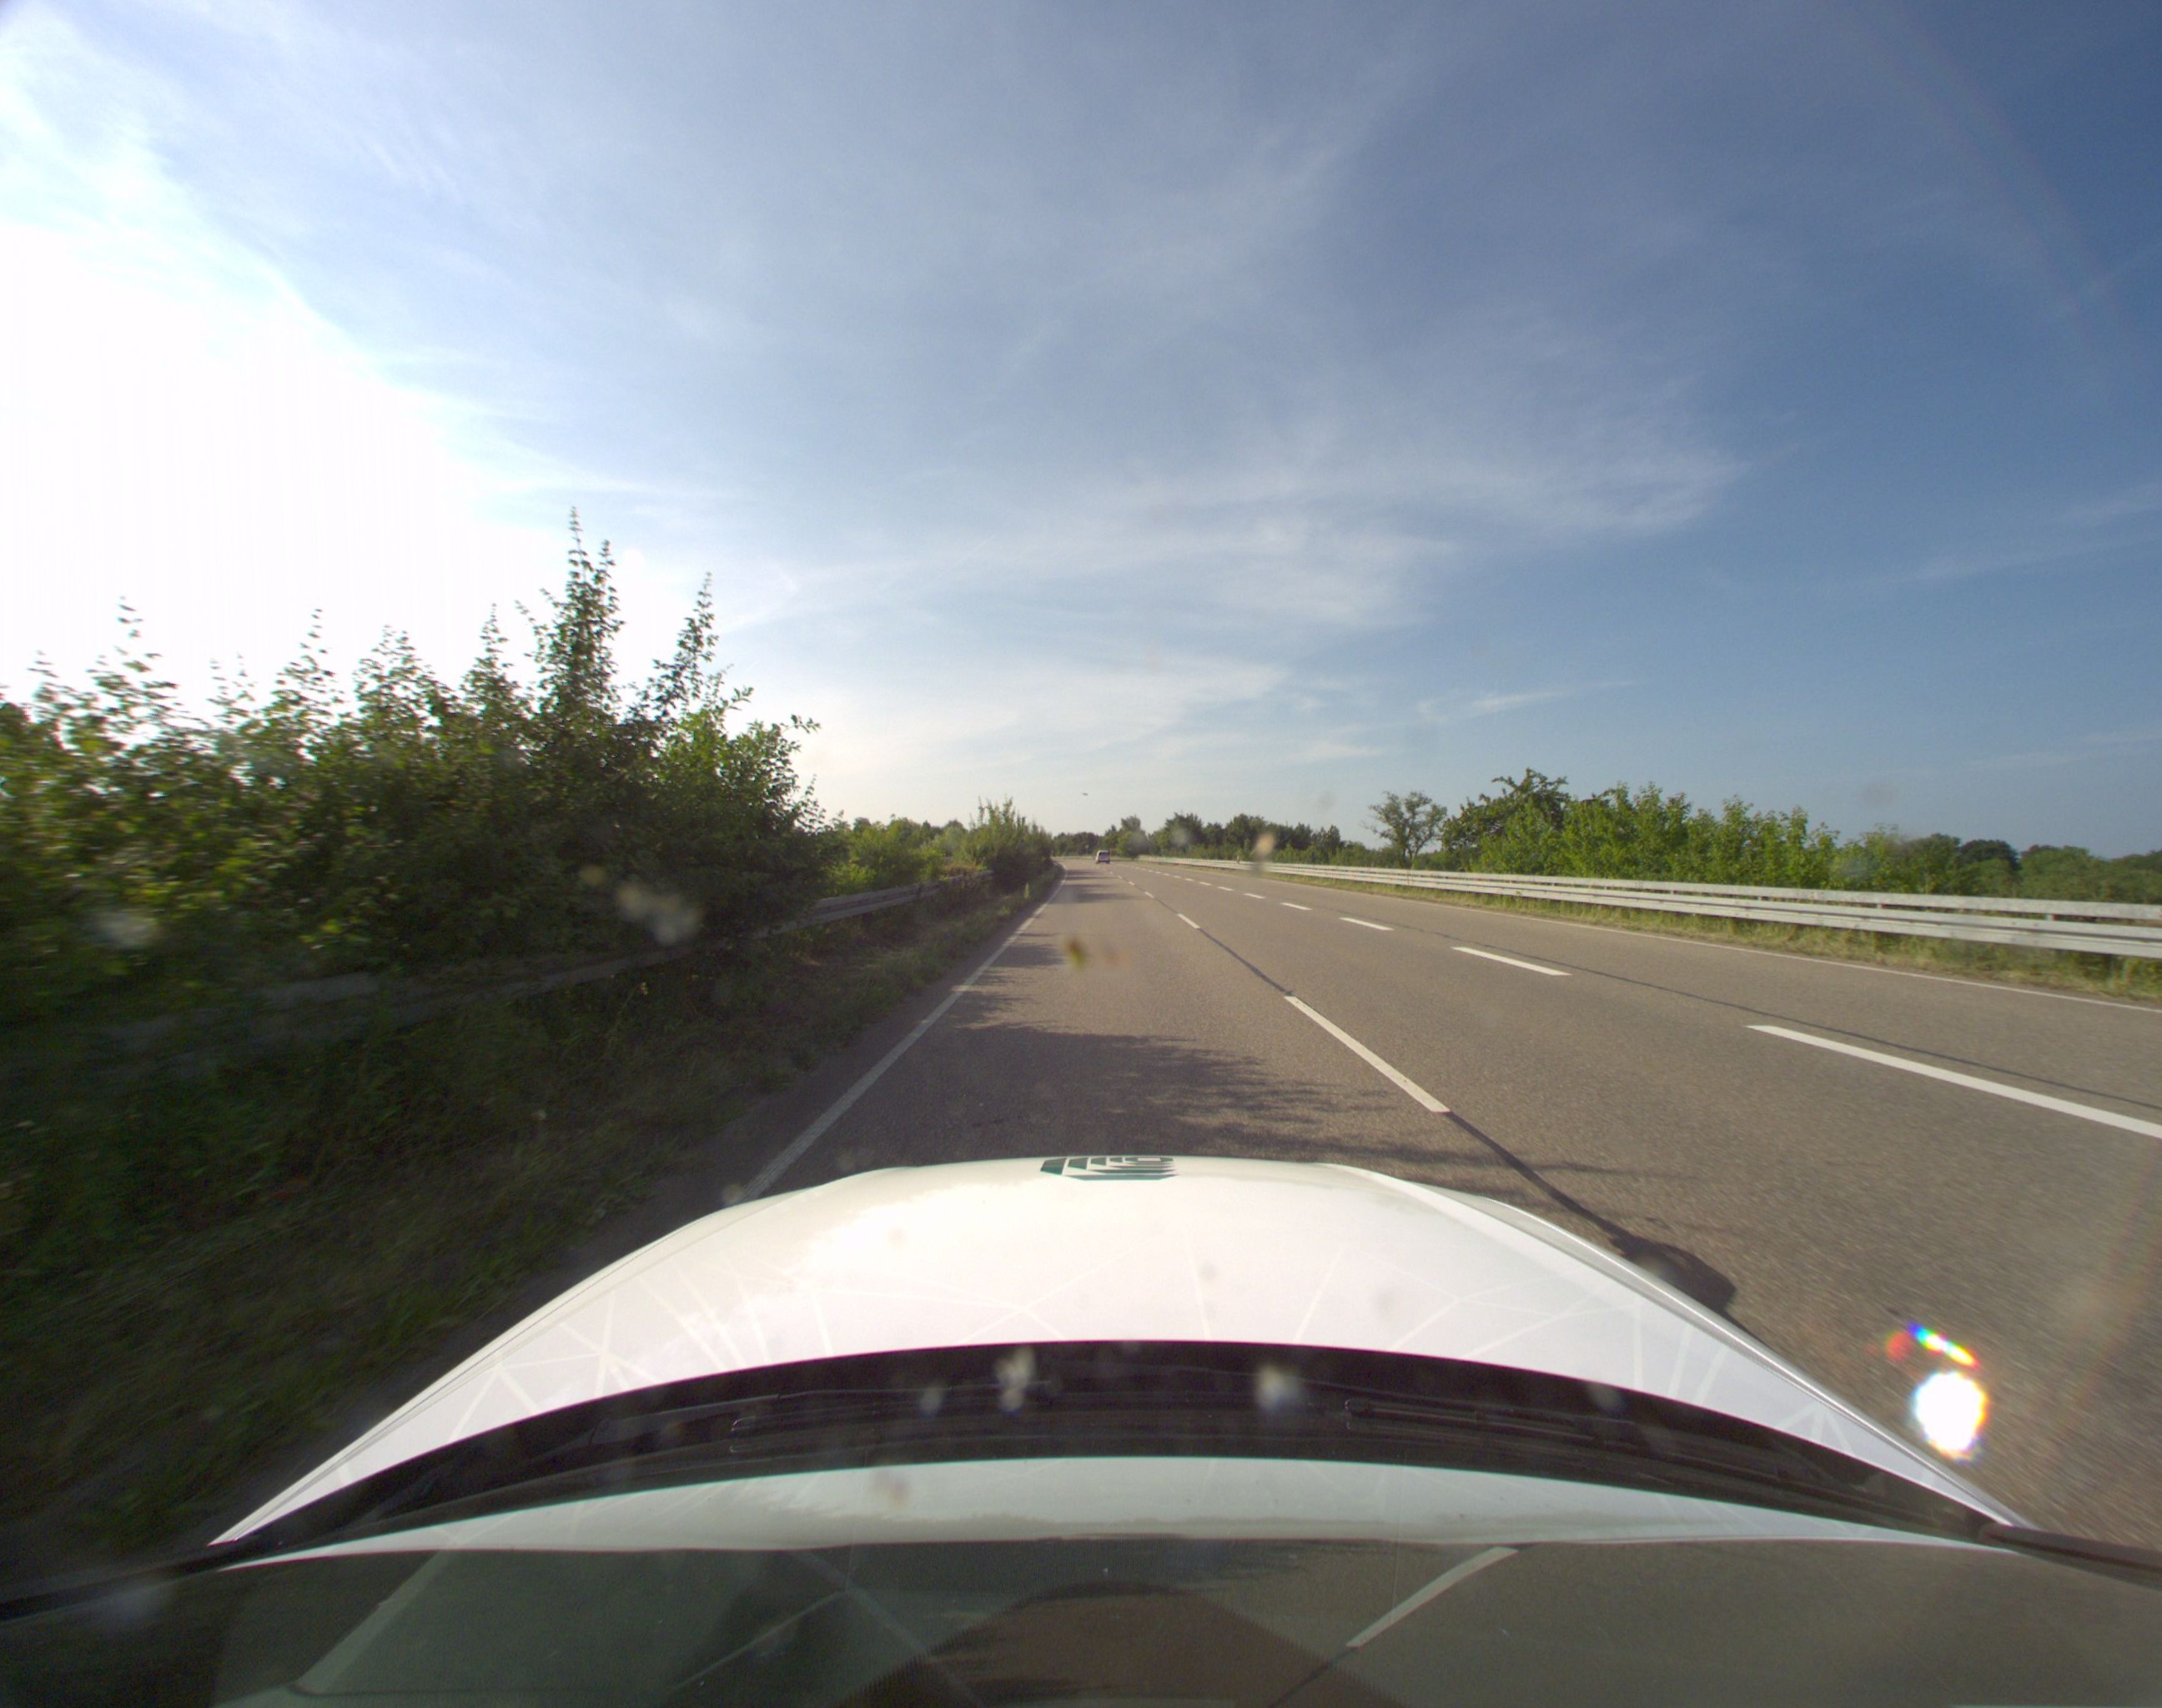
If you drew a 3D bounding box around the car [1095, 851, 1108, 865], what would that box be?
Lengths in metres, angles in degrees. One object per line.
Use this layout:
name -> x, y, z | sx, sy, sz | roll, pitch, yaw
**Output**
car -> 2.903, 0.563, 113.664 | 1.759, 1.882, 4.002 | -1, -1, 2
